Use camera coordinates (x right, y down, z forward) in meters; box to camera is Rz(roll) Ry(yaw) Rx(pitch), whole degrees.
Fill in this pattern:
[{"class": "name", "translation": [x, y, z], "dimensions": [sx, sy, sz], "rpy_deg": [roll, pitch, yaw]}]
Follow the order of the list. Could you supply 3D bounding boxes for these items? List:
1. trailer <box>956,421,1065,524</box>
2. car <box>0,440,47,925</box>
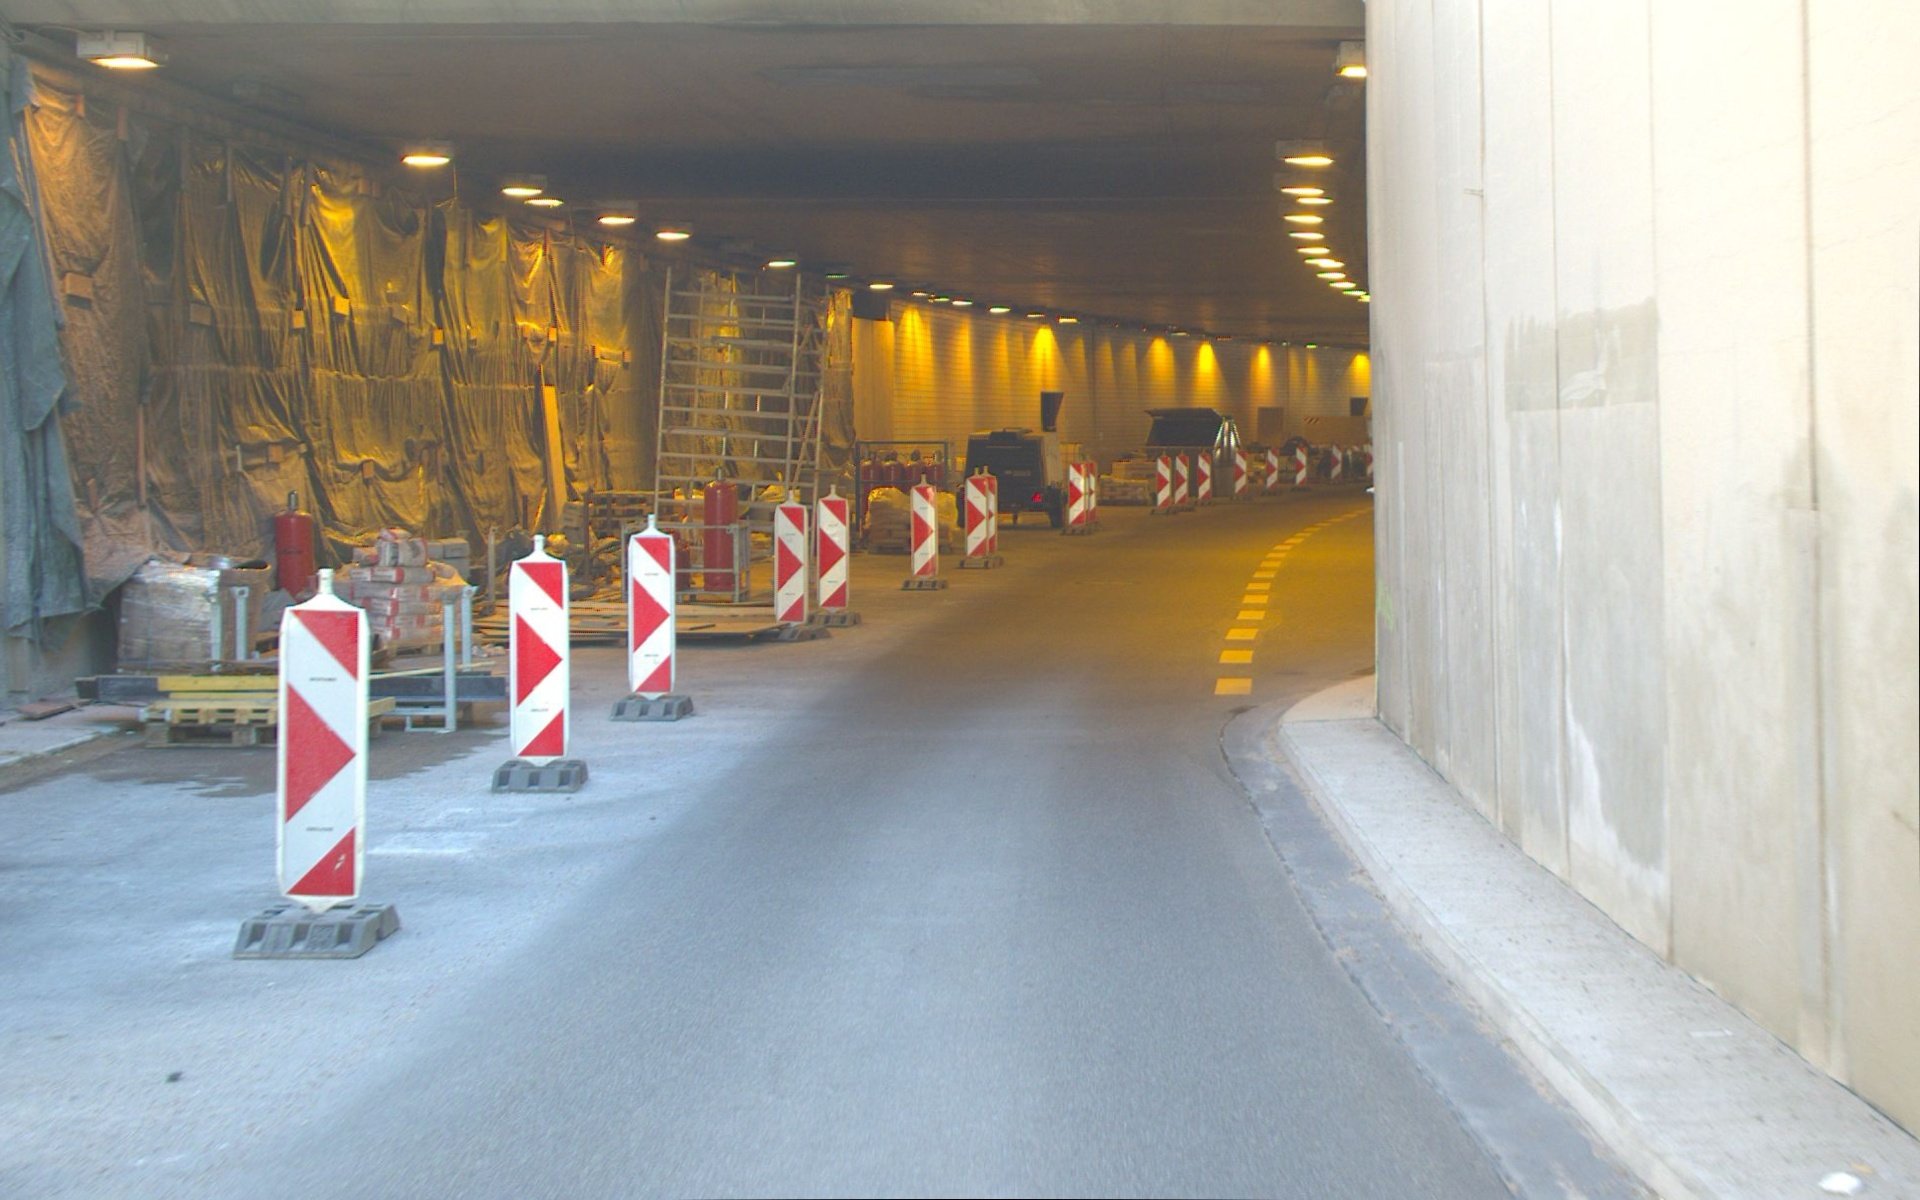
[{"class": "trailer", "translation": [0.917, -2.291, 61.360], "dimensions": [1.581, 1.792, 2.939], "rpy_deg": [1, 3, 8]}, {"class": "car", "translation": [-4.468, 0.368, 10.932], "dimensions": [1.848, 1.769, 4.434], "rpy_deg": [0, 2, 1]}]
